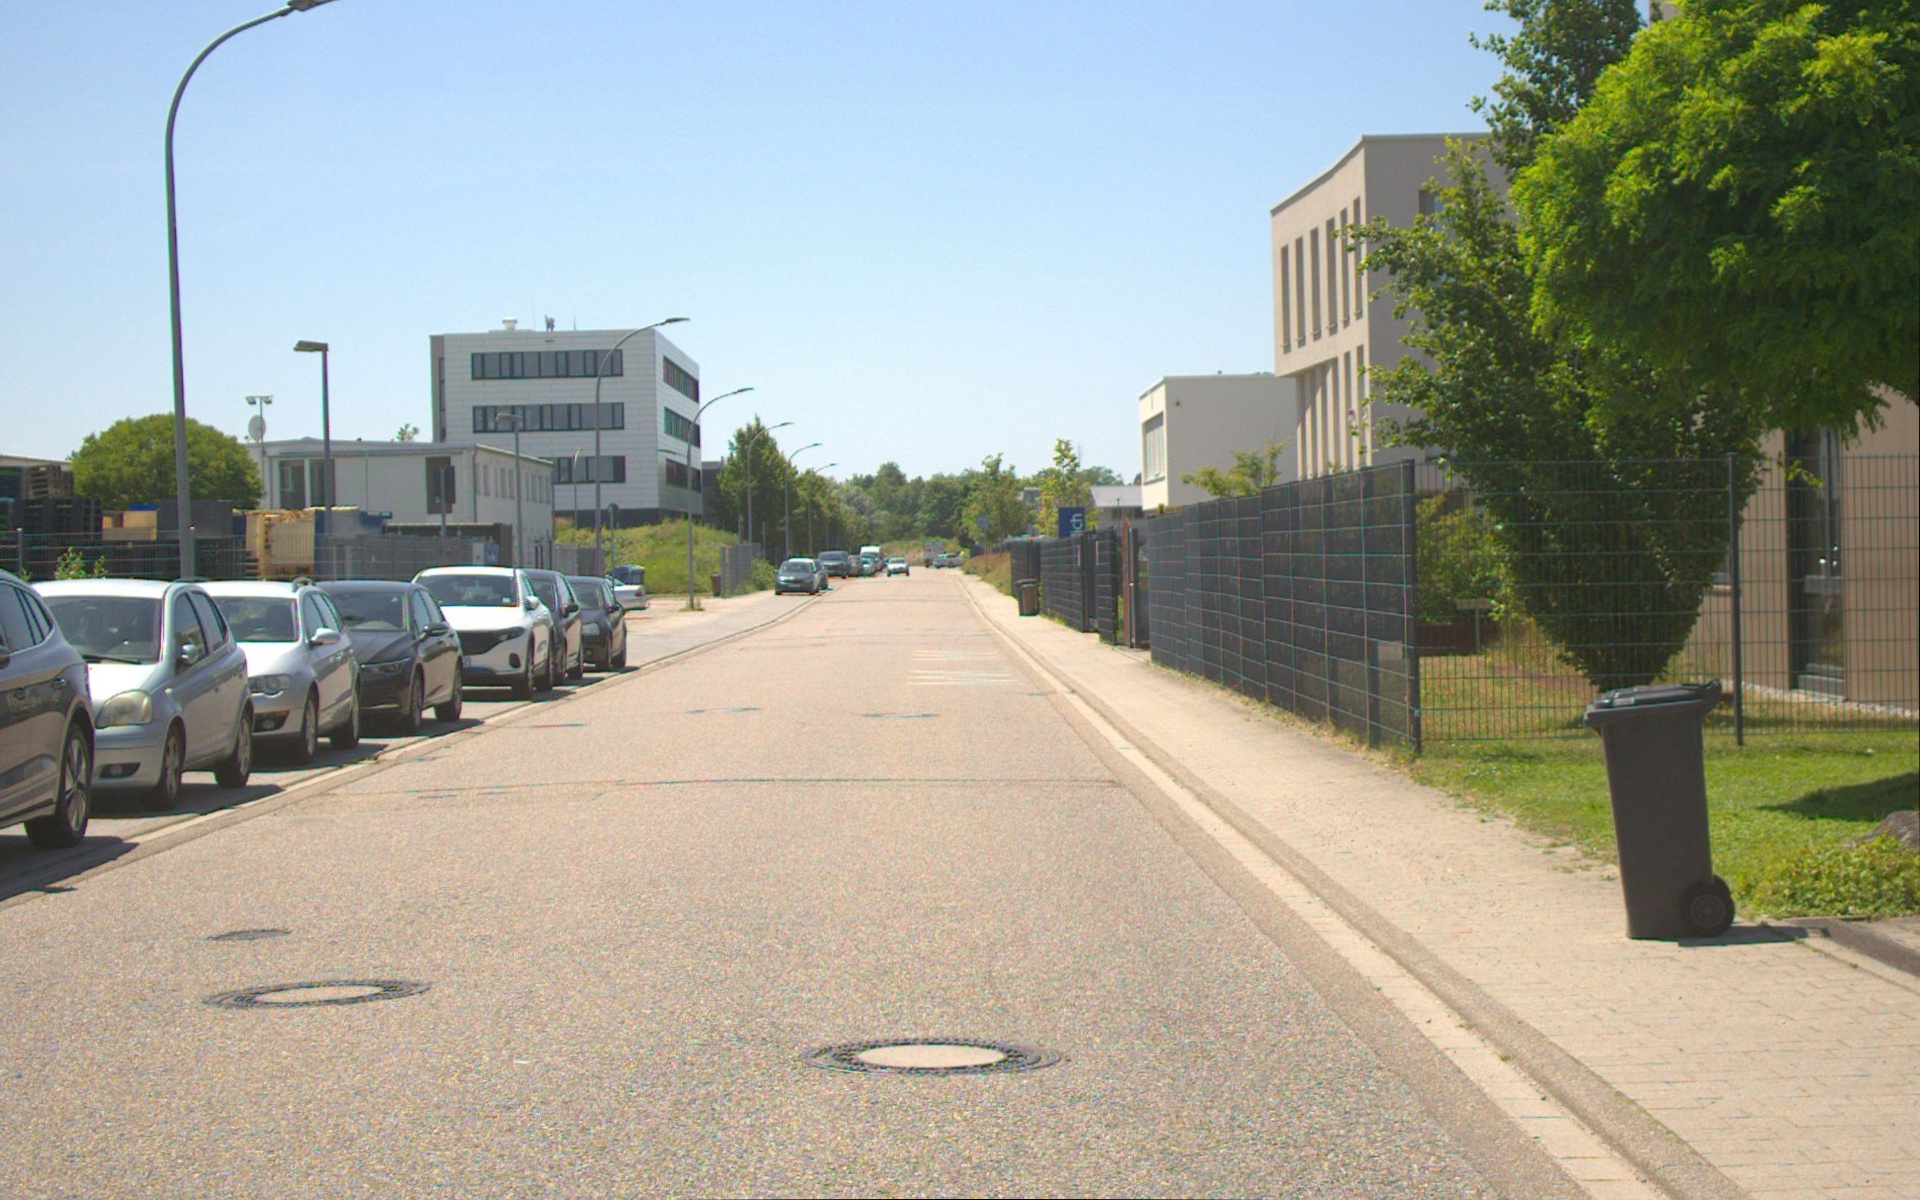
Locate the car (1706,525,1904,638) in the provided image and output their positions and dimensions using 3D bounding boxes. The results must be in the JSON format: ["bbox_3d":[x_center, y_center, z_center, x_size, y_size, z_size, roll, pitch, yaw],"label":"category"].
[{"bbox_3d":[11.573,-0.267,47.315,1.655,1.439,4.000,-2,1,-1],"label":"car"}]

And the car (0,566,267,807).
[{"bbox_3d":[-5.982,0.532,23.815,1.693,1.520,3.735,0,1,-1],"label":"car"}]

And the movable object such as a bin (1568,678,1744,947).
[{"bbox_3d":[2.585,0.782,12.798,0.552,0.925,0.521,-5,0,10],"label":"movable object such as a bin"}]

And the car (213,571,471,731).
[{"bbox_3d":[-6.106,0.464,34.418,1.857,1.475,4.229,0,1,-1],"label":"car"}]

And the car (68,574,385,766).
[{"bbox_3d":[-6.145,0.529,29.316,1.775,1.475,4.816,0,1,-1],"label":"car"}]

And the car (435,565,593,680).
[{"bbox_3d":[-6.259,0.281,48.676,1.769,1.551,4.502,0,1,-2],"label":"car"}]

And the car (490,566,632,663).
[{"bbox_3d":[-6.263,0.202,54.291,1.769,1.456,4.333,0,1,0],"label":"car"}]

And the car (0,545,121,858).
[{"bbox_3d":[-5.819,0.512,18.124,1.790,1.601,4.463,0,1,-1],"label":"car"}]

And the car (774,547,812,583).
[{"bbox_3d":[-7.250,-1.524,149.078,1.466,1.484,3.207,-1,1,0],"label":"car"}]

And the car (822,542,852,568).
[{"bbox_3d":[-7.286,-2.664,204.053,1.644,1.484,3.207,-1,1,0],"label":"car"}]

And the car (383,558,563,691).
[{"bbox_3d":[-6.079,0.269,43.288,1.769,1.586,4.360,0,1,-2],"label":"car"}]

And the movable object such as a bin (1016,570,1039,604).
[{"bbox_3d":[1.984,-0.376,101.130,0.552,0.925,0.522,-5,2,4],"label":"movable object such as a bin"}]

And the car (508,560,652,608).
[{"bbox_3d":[-11.908,-0.508,107.849,4.277,1.360,1.898,-2,1,0],"label":"car"}]
